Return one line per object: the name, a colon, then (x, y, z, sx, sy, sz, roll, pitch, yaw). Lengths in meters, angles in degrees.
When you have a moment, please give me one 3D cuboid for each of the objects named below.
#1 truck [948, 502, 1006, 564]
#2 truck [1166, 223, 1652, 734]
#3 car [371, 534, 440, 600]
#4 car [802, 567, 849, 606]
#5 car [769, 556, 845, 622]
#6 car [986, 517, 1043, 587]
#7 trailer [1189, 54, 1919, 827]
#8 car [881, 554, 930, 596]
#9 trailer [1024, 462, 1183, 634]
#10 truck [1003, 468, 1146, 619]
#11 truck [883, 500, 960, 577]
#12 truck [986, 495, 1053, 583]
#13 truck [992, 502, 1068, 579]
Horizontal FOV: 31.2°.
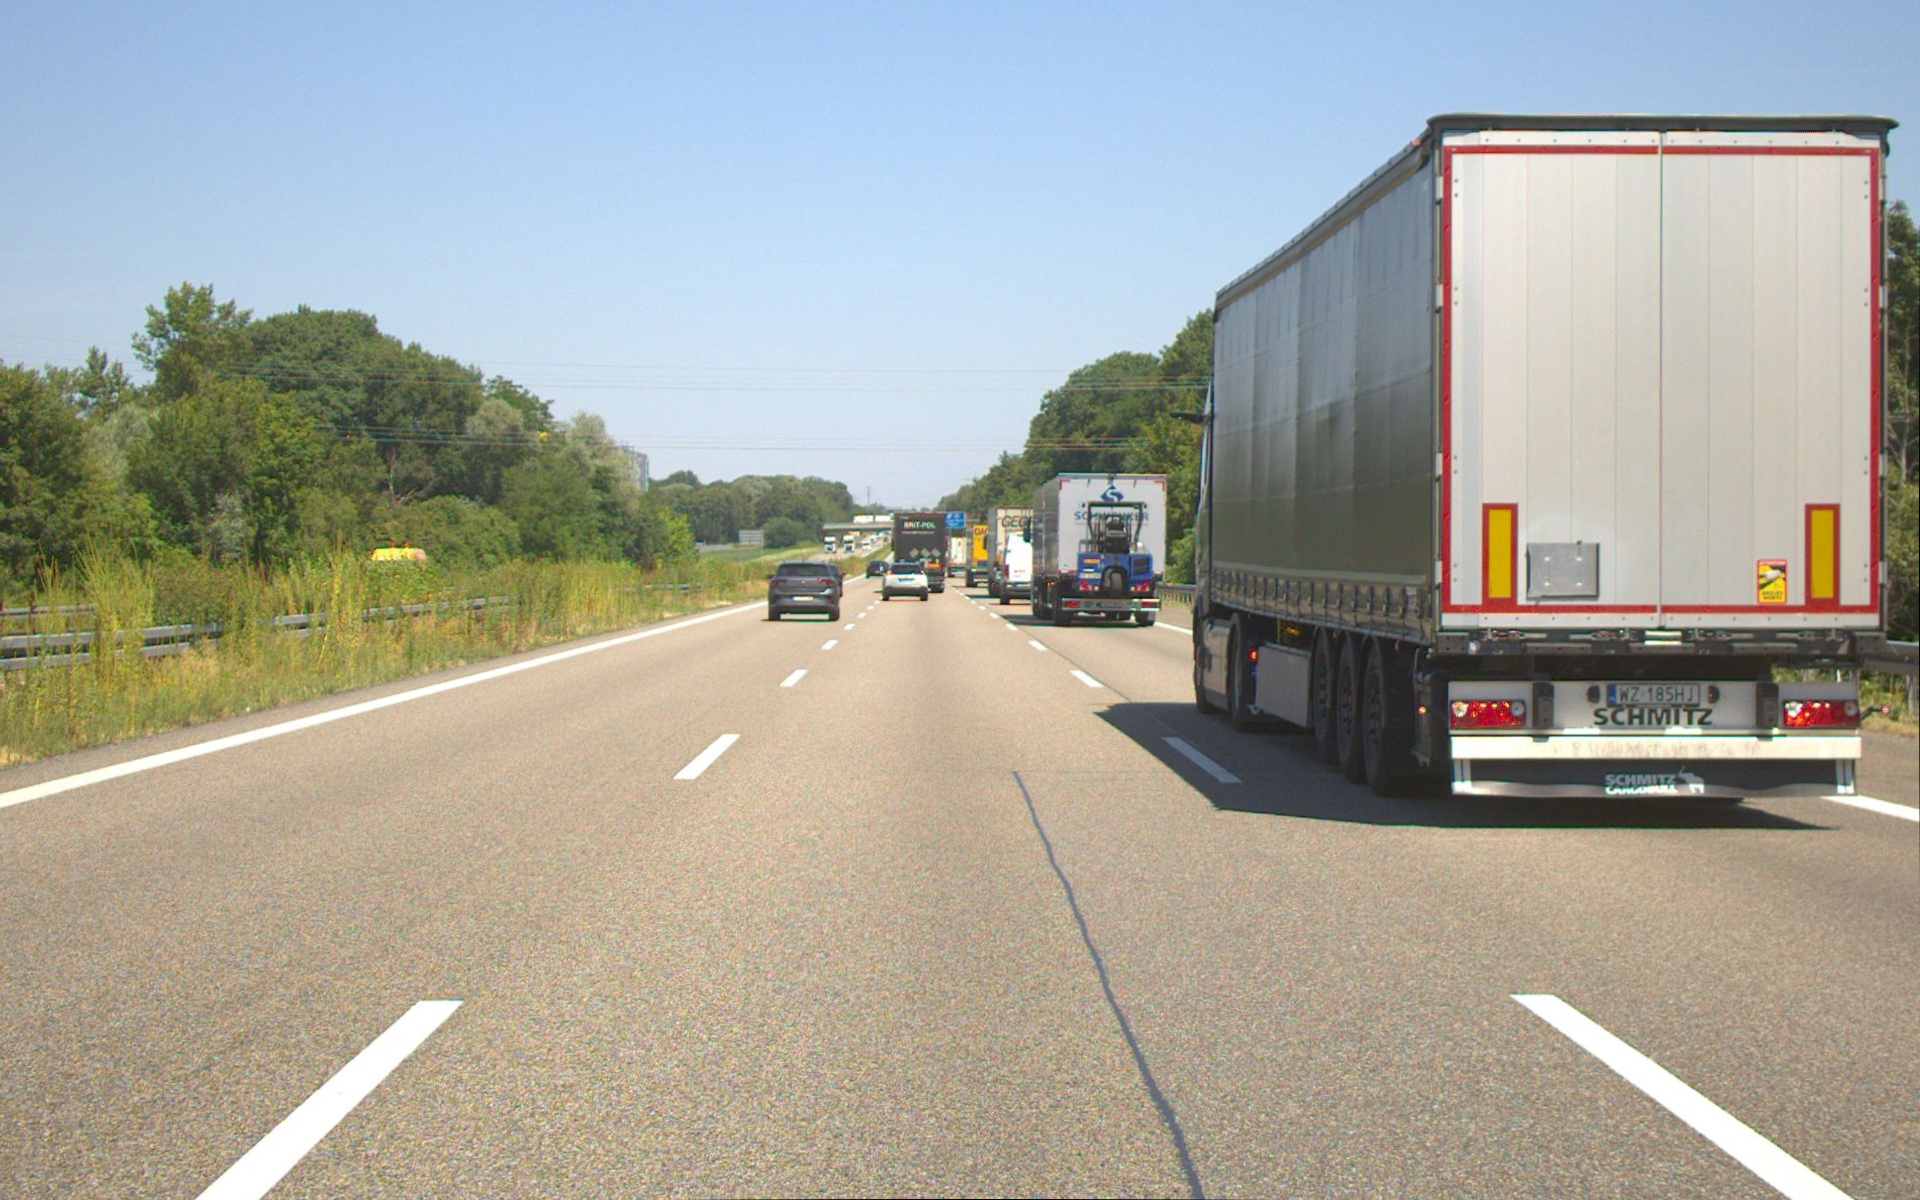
truck: (1.055, -4.194, 214.462, 3.489, 3.713, 7.108, 1, 2, 1)
truck: (3.927, -1.026, 31.910, 3.464, 4.163, 6.844, 1, 0, -1)
car: (-22.726, -1.367, 141.103, 2.102, 2.548, 6.187, -1, 2, -3)
car: (-5.861, -0.594, 150.050, 1.900, 1.525, 4.084, 1, 2, -1)
car: (-3.890, -0.310, 88.060, 1.759, 1.525, 4.286, 1, 2, -1)
car: (1.986, -1.785, 126.071, 1.907, 2.417, 4.286, 1, 2, -1)
trailer: (3.962, -0.976, 25.616, 3.434, 4.167, 13.633, 1, 1, 0)
car: (-2.179, -1.012, 138.063, 1.900, 1.525, 4.084, 1, 2, -1)
trailer: (3.401, -1.347, 84.176, 3.122, 3.913, 9.938, 1, 2, -2)
truck: (3.033, -1.618, 94.137, 3.057, 3.865, 10.035, 1, 2, -2)
truck: (-1.884, -3.122, 172.360, 3.667, 3.713, 7.108, 1, 2, 1)
truck: (2.592, -2.727, 151.649, 2.792, 3.713, 7.108, 1, 2, 1)
truck: (3.463, -3.042, 172.614, 3.667, 3.713, 7.108, 1, 2, 1)
